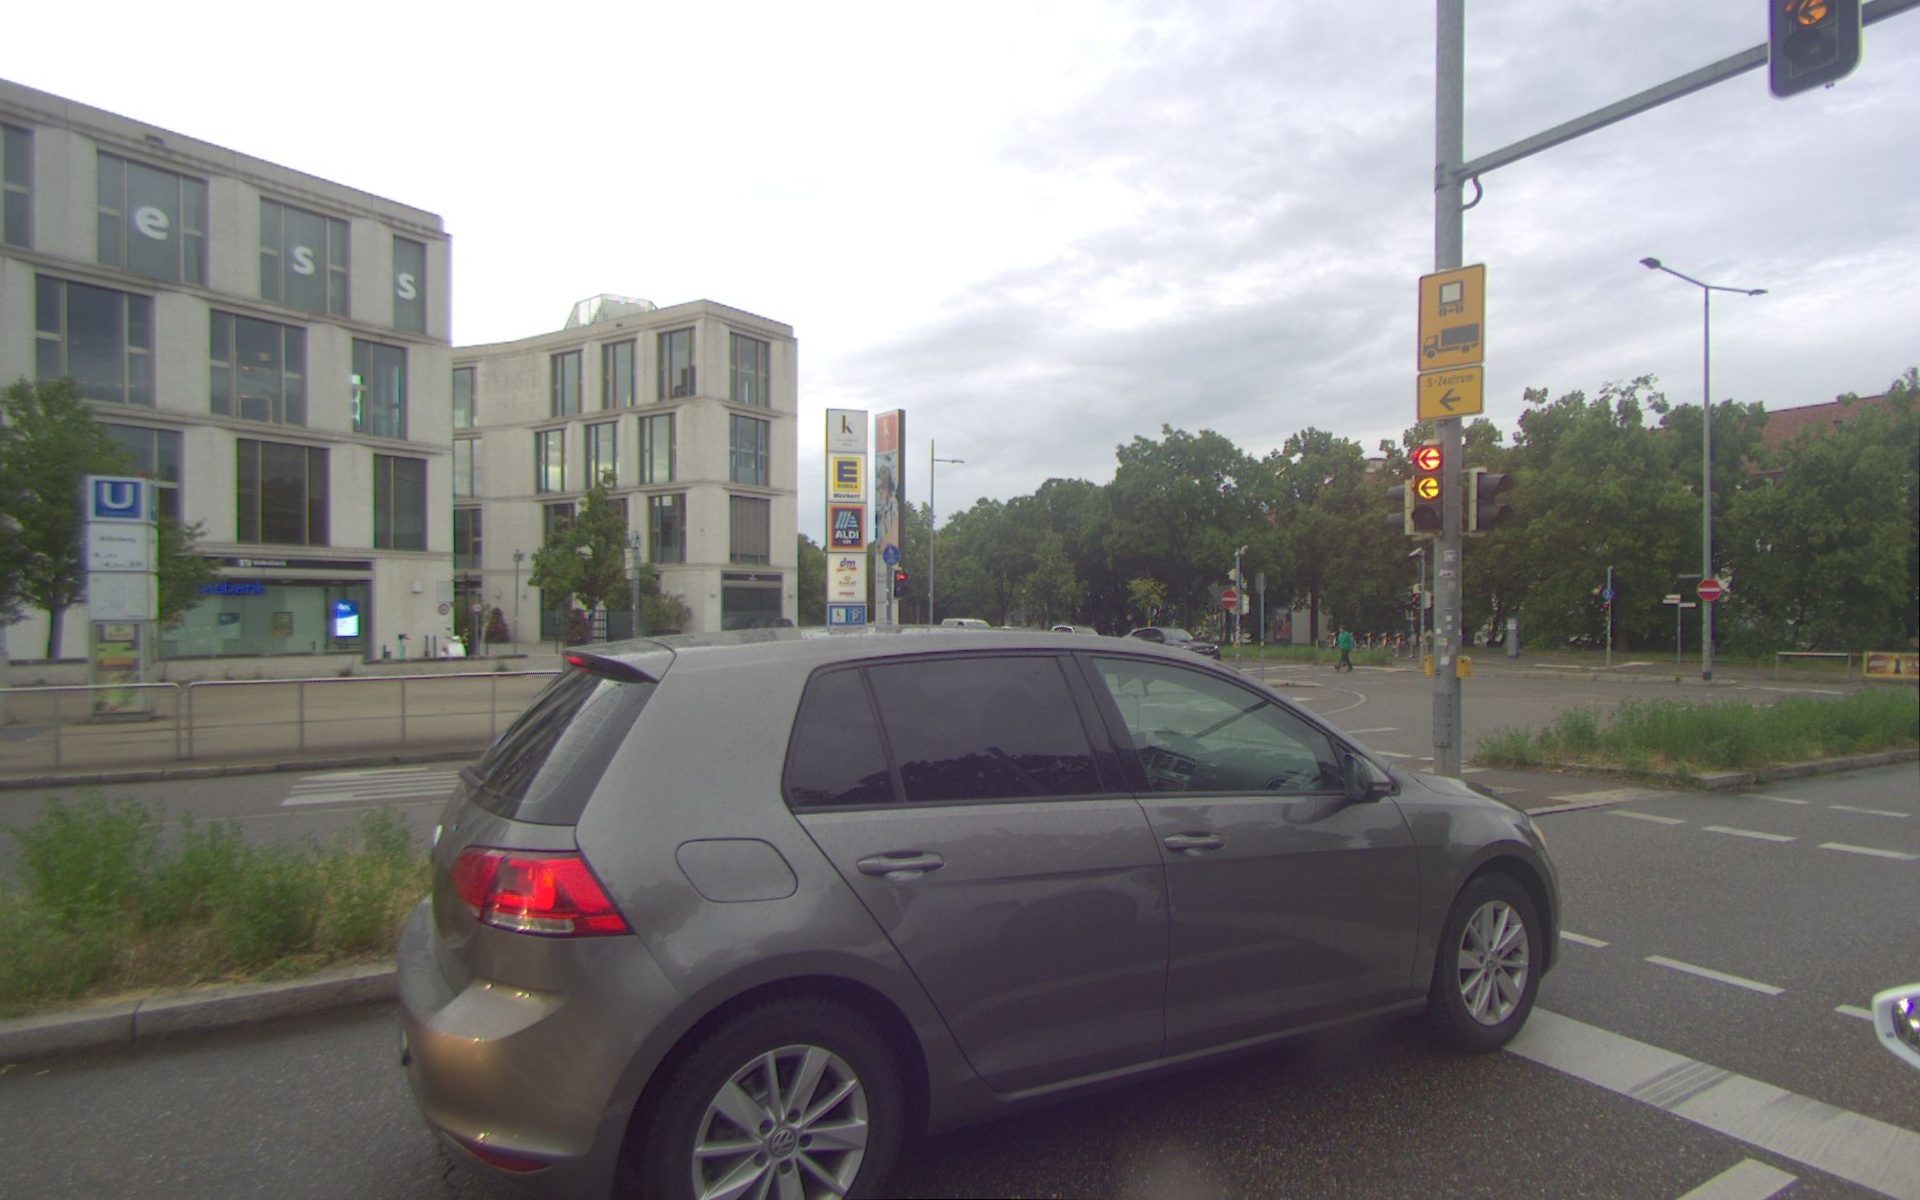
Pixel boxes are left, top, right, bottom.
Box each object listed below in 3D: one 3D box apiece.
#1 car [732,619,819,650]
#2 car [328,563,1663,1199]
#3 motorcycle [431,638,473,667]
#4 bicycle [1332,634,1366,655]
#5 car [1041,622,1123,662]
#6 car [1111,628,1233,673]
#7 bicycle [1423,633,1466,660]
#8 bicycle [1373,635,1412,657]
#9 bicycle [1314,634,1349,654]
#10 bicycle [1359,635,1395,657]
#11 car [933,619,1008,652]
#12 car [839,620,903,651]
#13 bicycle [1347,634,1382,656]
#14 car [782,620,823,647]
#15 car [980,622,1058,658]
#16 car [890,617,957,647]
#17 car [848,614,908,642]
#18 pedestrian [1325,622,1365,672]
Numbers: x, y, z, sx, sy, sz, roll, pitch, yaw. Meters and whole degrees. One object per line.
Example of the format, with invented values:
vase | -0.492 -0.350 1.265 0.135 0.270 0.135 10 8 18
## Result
car | -9.193 1.713 50.313 1.968 1.483 3.985 0 -2 37
car | 0.387 0.752 3.534 4.325 1.501 1.807 2 -1 -30
motorcycle | -14.115 1.446 27.907 1.081 0.750 0.522 2 0 29
bicycle | 20.931 2.388 54.031 1.959 1.085 0.649 2 0 -30
car | 5.550 1.907 46.022 1.976 1.615 3.536 2 0 -30
car | 8.388 1.964 40.236 1.976 1.520 5.001 2 0 -29
bicycle | 23.752 2.279 49.257 1.959 1.266 0.986 2 0 -30
bicycle | 22.236 2.361 51.645 1.959 1.085 0.798 2 0 -30
bicycle | 20.260 2.402 54.760 1.959 1.085 0.649 2 0 -30
bicycle | 21.665 2.394 52.170 1.959 1.085 0.649 2 0 -30
car | 0.525 1.942 55.400 1.976 1.615 4.855 2 0 -29
car | -5.336 2.108 59.693 1.976 1.615 4.855 2 0 -29
bicycle | 21.364 2.378 53.030 1.959 1.085 0.649 2 0 -30
car | -12.651 2.659 80.490 1.976 2.040 3.969 1 -1 -29
car | 2.943 1.993 50.892 1.976 1.615 4.185 2 0 -29
car | -2.264 1.883 60.388 1.976 1.615 4.855 2 0 -29
car | -5.466 1.813 66.108 1.977 1.615 4.852 2 0 -31
pedestrian | 13.945 1.704 36.392 0.932 1.750 0.921 2 0 -22
